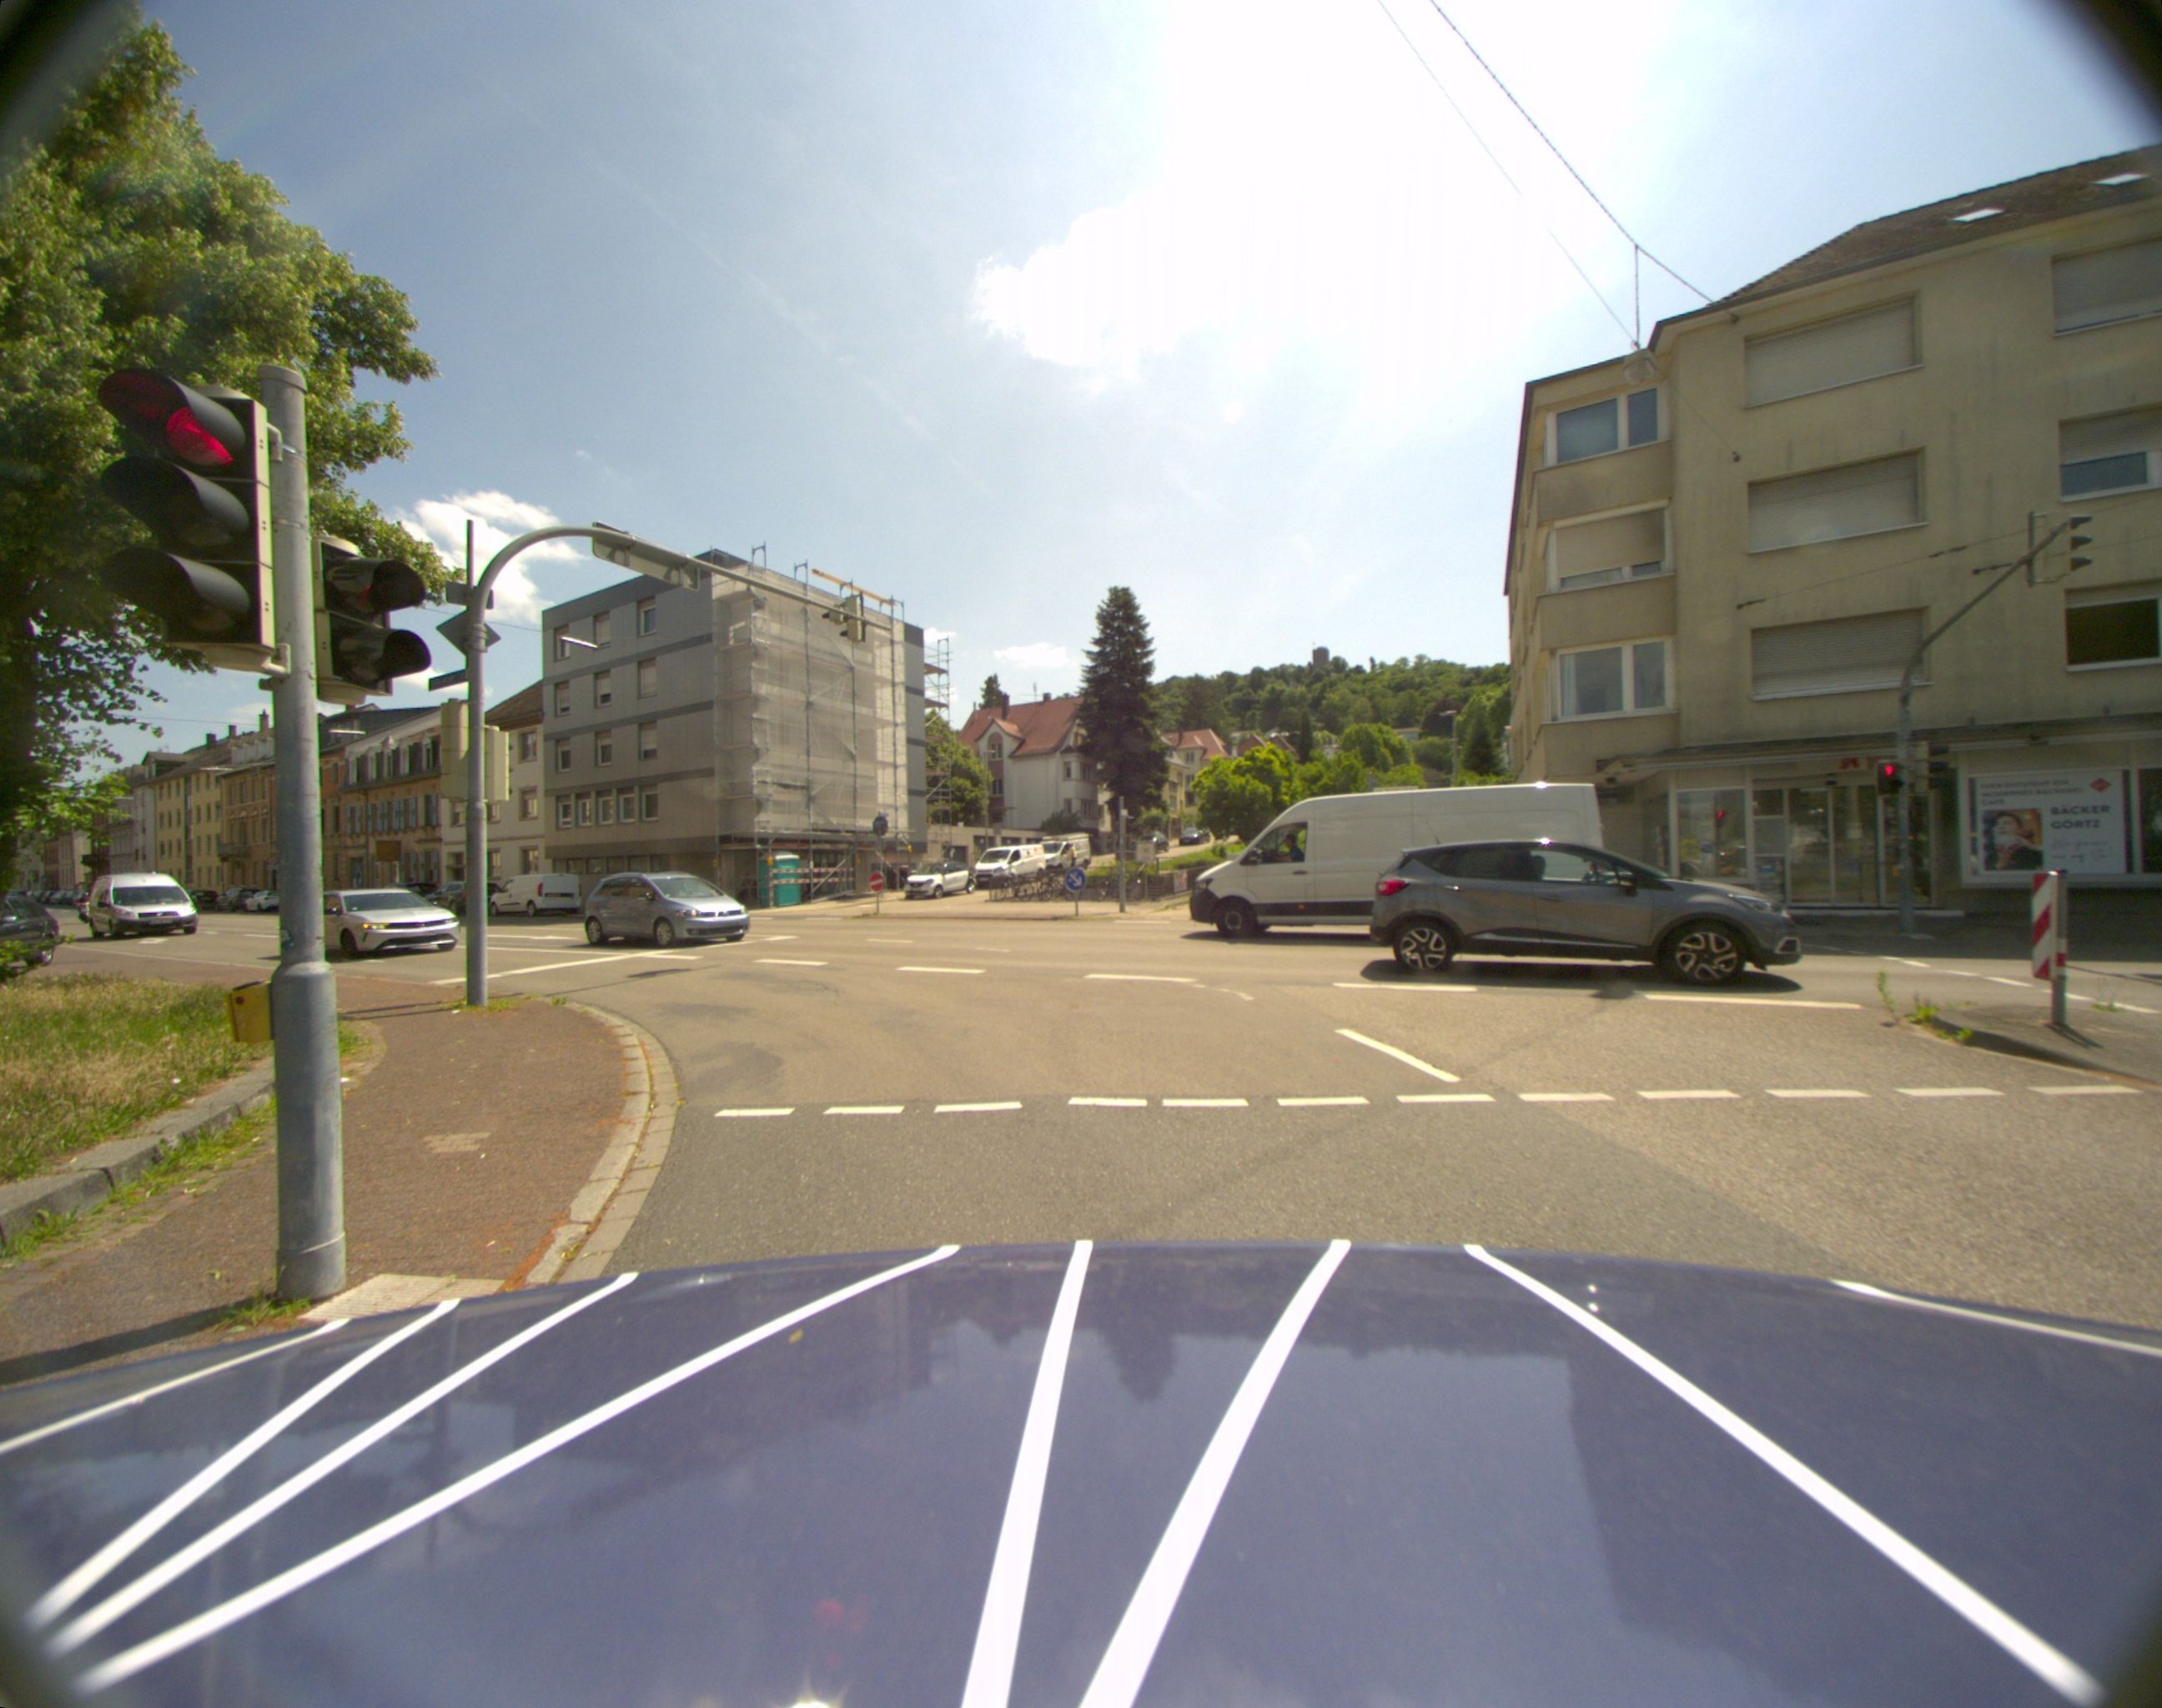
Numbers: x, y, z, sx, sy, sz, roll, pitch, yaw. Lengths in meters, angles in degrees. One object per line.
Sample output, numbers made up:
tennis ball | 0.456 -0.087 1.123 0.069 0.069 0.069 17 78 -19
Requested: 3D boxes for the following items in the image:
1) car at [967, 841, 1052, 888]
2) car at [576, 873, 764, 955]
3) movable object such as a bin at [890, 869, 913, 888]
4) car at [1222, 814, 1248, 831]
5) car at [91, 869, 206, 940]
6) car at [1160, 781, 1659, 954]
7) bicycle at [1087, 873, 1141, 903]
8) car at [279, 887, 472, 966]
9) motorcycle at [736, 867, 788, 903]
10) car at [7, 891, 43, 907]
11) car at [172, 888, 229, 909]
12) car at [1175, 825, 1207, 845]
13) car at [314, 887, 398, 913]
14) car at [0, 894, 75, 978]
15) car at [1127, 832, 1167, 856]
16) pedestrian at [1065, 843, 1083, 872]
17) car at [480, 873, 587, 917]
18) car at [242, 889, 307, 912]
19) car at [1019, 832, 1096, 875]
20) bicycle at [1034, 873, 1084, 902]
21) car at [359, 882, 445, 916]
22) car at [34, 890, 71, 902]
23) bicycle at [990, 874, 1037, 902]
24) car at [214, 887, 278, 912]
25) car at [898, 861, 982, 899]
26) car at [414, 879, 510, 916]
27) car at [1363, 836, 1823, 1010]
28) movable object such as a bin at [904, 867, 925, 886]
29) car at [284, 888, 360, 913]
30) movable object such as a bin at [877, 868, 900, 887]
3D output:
car | -3.571 0.490 39.045 1.995 2.003 5.018 -2 3 25
car | -9.038 1.254 16.658 3.989 1.559 1.763 -2 0 30
movable object such as a bin | -8.986 1.237 38.067 0.824 0.921 0.742 -2 1 31
car | 15.584 -3.216 76.636 1.754 1.439 3.743 -2 4 24
car | -33.255 1.742 27.058 5.656 2.261 1.910 -2 0 33
car | 5.372 0.357 13.578 7.535 2.485 2.228 -2 -3 26
bicycle | 1.115 1.166 25.786 1.779 0.961 0.399 -2 0 25
car | -15.937 1.537 17.127 4.475 1.489 1.910 -2 0 30
motorcycle | -14.059 1.332 33.512 2.045 1.463 0.880 -2 1 -22
car | -106.994 4.576 76.986 4.301 1.565 1.710 -2 -1 30
car | -67.064 3.402 57.853 4.489 1.541 1.875 -1 -4 28
car | 9.440 -1.653 64.914 1.754 1.439 3.743 -2 4 24
car | -40.811 2.604 42.778 4.825 1.397 1.875 -1 -4 27
car | -21.200 1.555 14.156 1.844 1.539 5.143 -1 -2 -40
car | 4.912 -0.773 56.134 1.754 1.439 3.743 -2 4 24
pedestrian | -0.422 0.200 44.042 0.741 1.704 0.713 -2 0 32
car | -24.015 1.771 33.311 4.776 1.814 1.924 -1 -2 28
car | -52.734 3.030 49.646 4.319 1.417 1.875 -2 -4 29
car | -1.301 -0.099 45.120 2.069 2.165 5.019 -2 3 30
bicycle | -0.769 1.185 26.744 1.742 0.961 0.399 -2 0 25
car | -35.027 2.267 39.170 4.805 1.631 1.895 -2 -2 30
car | -116.129 4.740 85.786 4.094 1.402 1.754 -1 -4 27
bicycle | -2.448 1.234 27.509 1.714 0.961 0.399 -2 0 25
car | -57.235 3.107 52.055 4.488 1.617 1.875 -1 -4 28
car | -6.278 1.145 34.231 1.754 1.439 3.745 -2 1 26
car | -29.462 2.047 36.149 4.651 1.631 1.895 -2 -2 28
car | 5.502 0.689 8.752 3.990 1.622 1.762 -2 0 27
movable object such as a bin | -8.247 1.113 37.648 0.702 0.921 0.742 -2 1 31
car | -45.463 2.781 45.485 4.320 1.397 1.875 -1 -4 26
movable object such as a bin | -9.787 1.212 38.662 0.824 0.921 0.742 -2 1 31
